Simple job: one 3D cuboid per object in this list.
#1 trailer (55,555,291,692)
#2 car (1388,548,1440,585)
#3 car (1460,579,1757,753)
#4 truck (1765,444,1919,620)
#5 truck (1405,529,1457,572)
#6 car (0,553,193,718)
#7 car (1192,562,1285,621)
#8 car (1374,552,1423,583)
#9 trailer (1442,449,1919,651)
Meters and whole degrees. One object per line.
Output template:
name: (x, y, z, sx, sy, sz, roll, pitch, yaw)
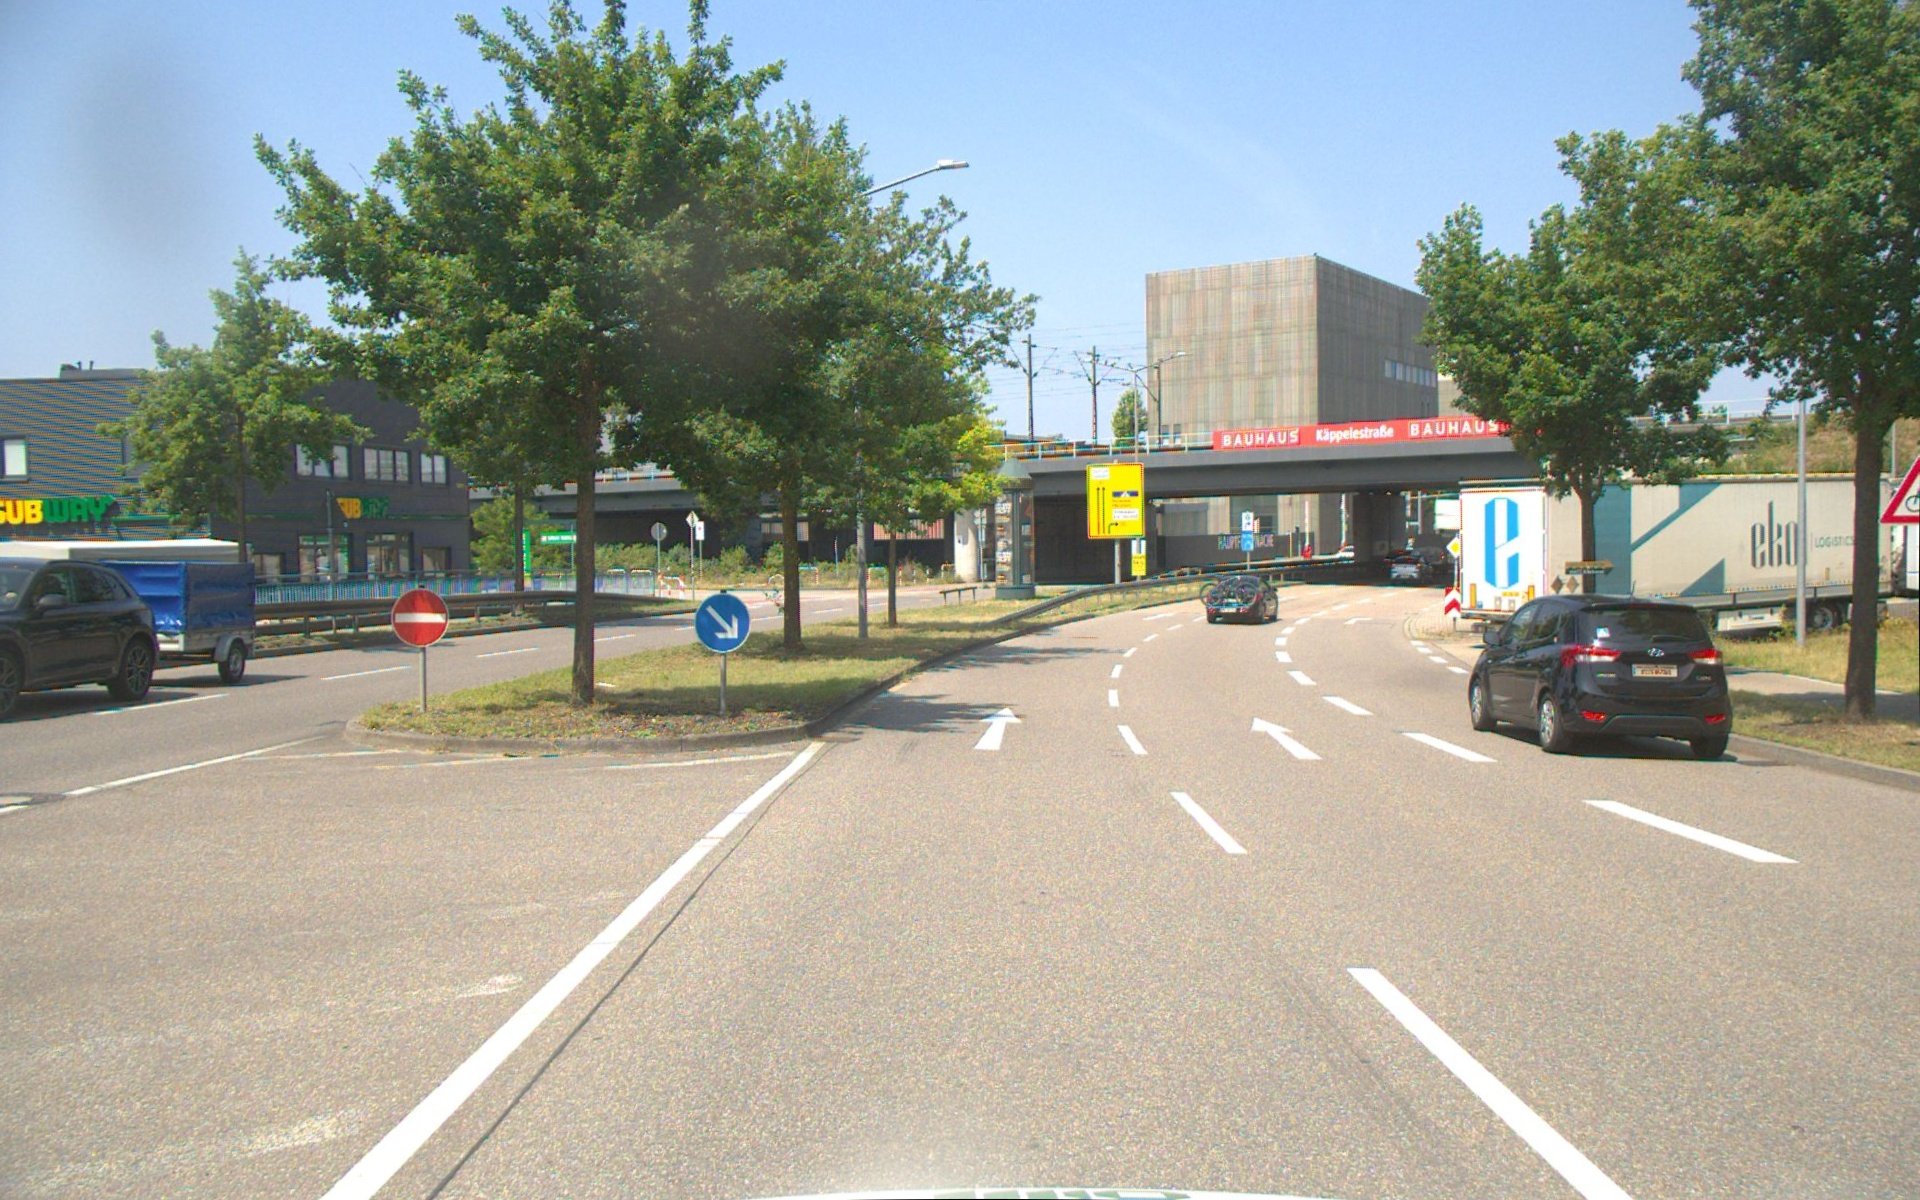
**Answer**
trailer: (-10.591, 0.249, 22.484, 1.473, 1.643, 3.310, 2, 2, 3)
car: (23.888, -1.788, 87.034, 1.805, 1.923, 3.995, 1, 2, 28)
car: (6.781, 0.645, 17.754, 1.730, 1.627, 4.078, 1, -1, 2)
truck: (25.454, -1.864, 44.524, 5.942, 4.444, 3.082, -3, 0, -6)
truck: (29.668, -3.128, 104.117, 2.030, 2.582, 3.990, -1, 1, 32)
car: (-10.702, 0.326, 18.605, 1.874, 1.681, 4.409, 2, 1, 3)
car: (8.606, -0.313, 50.889, 1.917, 1.662, 4.280, 1, 2, 23)
car: (25.965, -1.935, 97.818, 1.903, 1.751, 3.994, 1, 2, 29)
trailer: (18.460, -1.412, 41.481, 14.578, 4.444, 3.056, -3, 1, -31)
